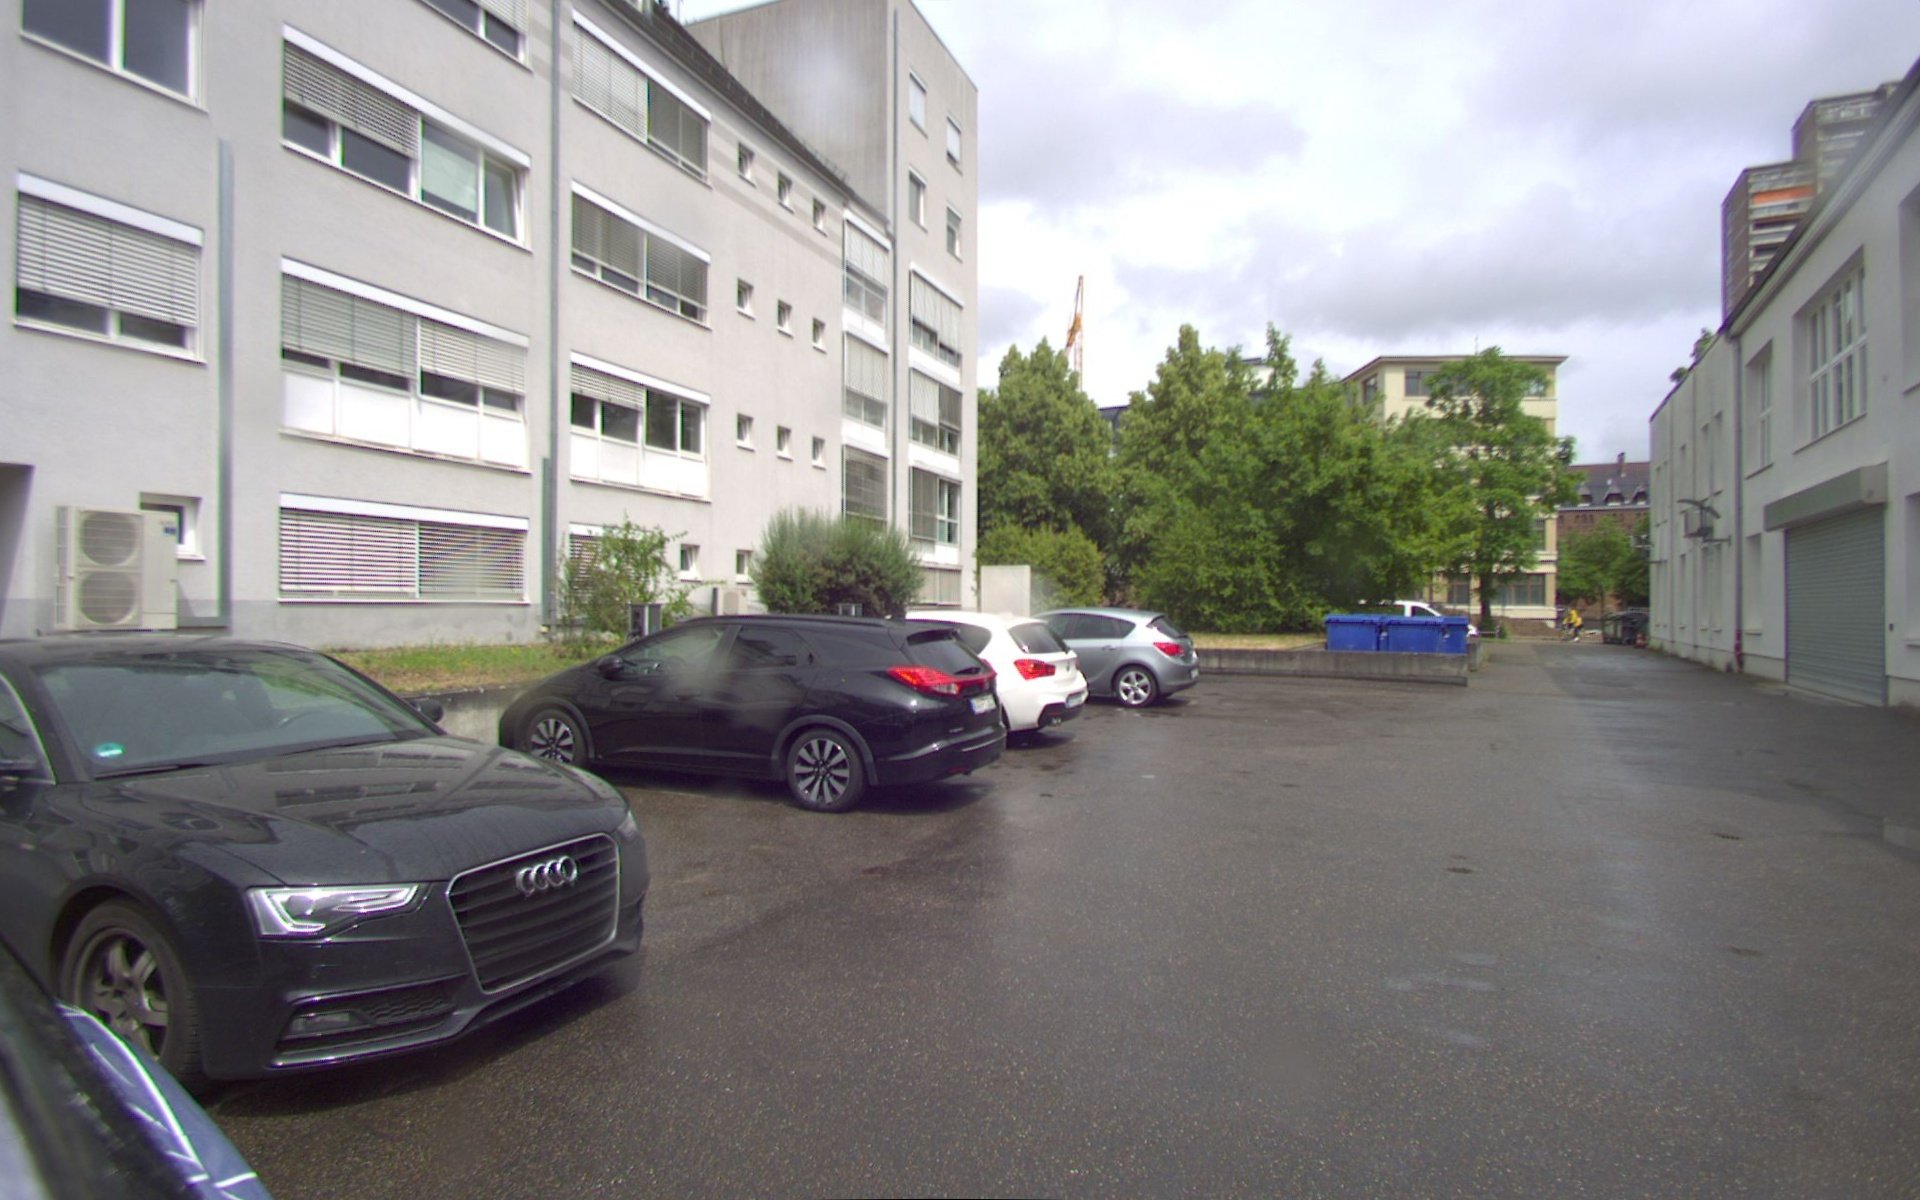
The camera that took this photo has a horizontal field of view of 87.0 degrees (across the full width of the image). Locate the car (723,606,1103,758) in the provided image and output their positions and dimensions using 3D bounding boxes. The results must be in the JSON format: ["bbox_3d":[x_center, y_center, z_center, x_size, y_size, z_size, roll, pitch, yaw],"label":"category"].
[{"bbox_3d":[-0.556,0.828,11.734,4.100,1.453,1.683,1,0,24],"label":"car"}]

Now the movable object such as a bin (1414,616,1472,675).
[{"bbox_3d":[11.503,1.069,24.078,1.127,1.338,1.195,-1,0,31],"label":"movable object such as a bin"}]

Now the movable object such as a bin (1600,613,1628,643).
[{"bbox_3d":[30.919,1.318,47.855,1.063,1.366,1.251,-1,0,31],"label":"movable object such as a bin"}]

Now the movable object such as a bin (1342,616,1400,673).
[{"bbox_3d":[10.066,1.073,24.776,1.127,1.338,1.195,-1,0,31],"label":"movable object such as a bin"}]

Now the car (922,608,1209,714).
[{"bbox_3d":[1.702,0.901,16.266,4.287,1.453,1.750,1,0,22],"label":"car"}]

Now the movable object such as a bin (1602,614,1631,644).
[{"bbox_3d":[30.264,1.319,46.663,1.063,1.366,1.251,-1,0,31],"label":"movable object such as a bin"}]

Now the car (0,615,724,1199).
[{"bbox_3d":[-3.369,0.800,4.226,4.500,1.362,1.749,1,0,23],"label":"car"}]

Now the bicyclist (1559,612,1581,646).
[{"bbox_3d":[30.812,1.451,51.110,0.640,1.662,0.669,-1,0,-12],"label":"bicyclist"}]

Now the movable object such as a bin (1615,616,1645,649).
[{"bbox_3d":[28.137,1.357,42.522,0.975,1.366,0.909,-1,-1,32],"label":"movable object such as a bin"}]

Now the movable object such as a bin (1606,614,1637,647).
[{"bbox_3d":[28.897,1.322,44.217,1.042,1.366,1.195,-1,0,31],"label":"movable object such as a bin"}]

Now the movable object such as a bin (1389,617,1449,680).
[{"bbox_3d":[10.317,1.066,22.726,1.091,1.335,1.195,-1,0,31],"label":"movable object such as a bin"}]

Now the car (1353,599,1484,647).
[{"bbox_3d":[17.283,0.847,38.219,4.322,1.740,1.703,-1,0,34],"label":"car"}]

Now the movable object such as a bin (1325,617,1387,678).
[{"bbox_3d":[9.158,1.076,23.386,1.127,1.338,1.195,-1,0,31],"label":"movable object such as a bin"}]

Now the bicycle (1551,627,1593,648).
[{"bbox_3d":[30.913,1.901,51.131,1.847,0.989,0.672,-1,0,-12],"label":"bicycle"}]

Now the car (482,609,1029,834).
[{"bbox_3d":[-1.725,0.847,8.543,4.286,1.453,1.750,1,0,22],"label":"car"}]
